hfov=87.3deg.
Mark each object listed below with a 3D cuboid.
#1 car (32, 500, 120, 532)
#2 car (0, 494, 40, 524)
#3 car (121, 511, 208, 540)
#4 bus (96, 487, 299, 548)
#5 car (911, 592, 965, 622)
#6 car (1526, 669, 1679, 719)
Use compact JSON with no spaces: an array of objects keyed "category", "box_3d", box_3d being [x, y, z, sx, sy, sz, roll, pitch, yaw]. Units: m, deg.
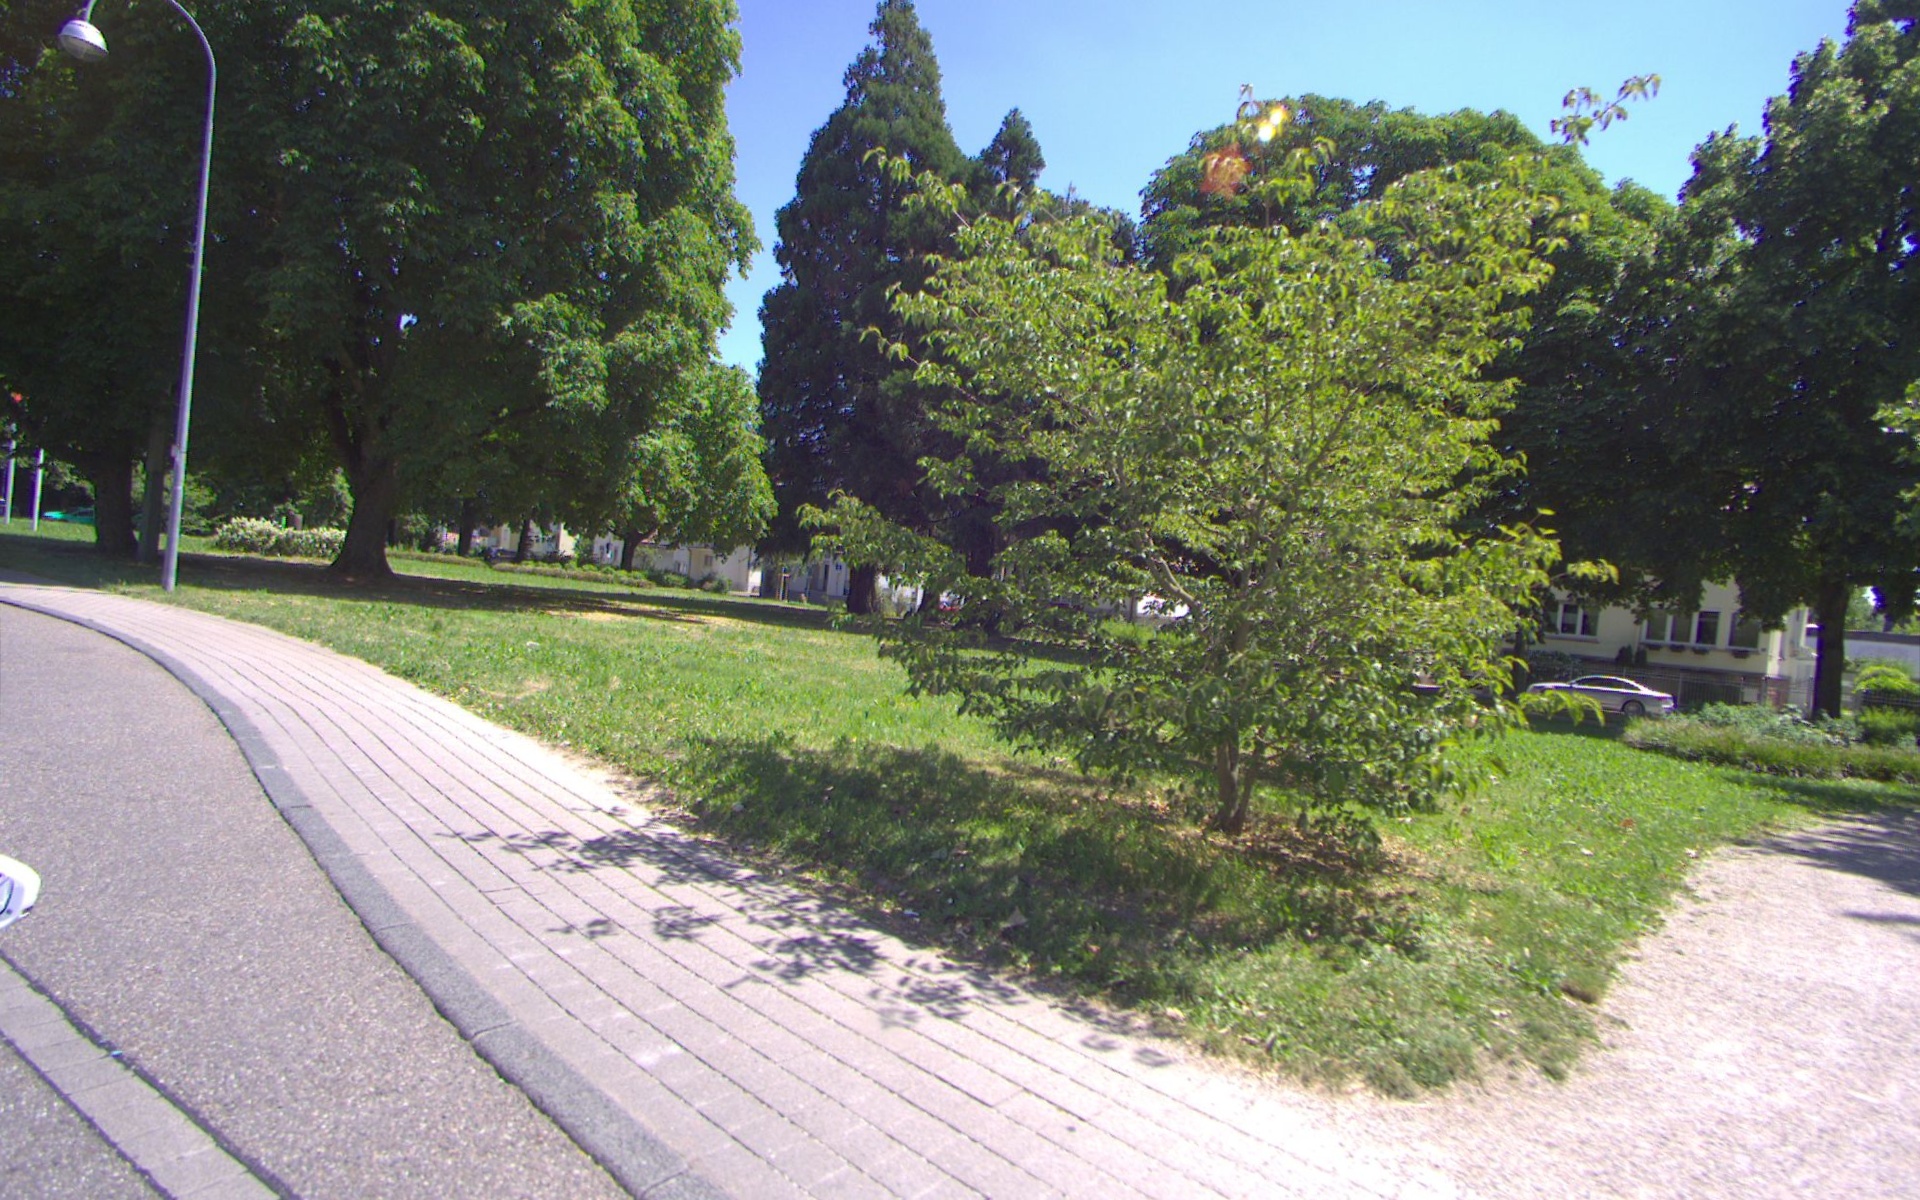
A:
[{"category":"car","box_3d":[-58.186,-5.507,66.270,1.968,1.471,3.885,5,-1,32]},{"category":"car","box_3d":[-60.467,-5.864,62.253,1.969,1.628,4.823,6,0,35]},{"category":"car","box_3d":[-55.653,-5.181,70.436,1.967,1.433,4.342,5,-1,32]},{"category":"bus","box_3d":[-58.101,-6.208,77.322,2.231,3.014,12.391,5,0,31]},{"category":"car","box_3d":[-1.651,0.542,76.947,3.733,1.982,1.809,5,0,-43]},{"category":"car","box_3d":[24.522,3.552,38.513,4.655,1.304,1.660,5,0,45]}]
